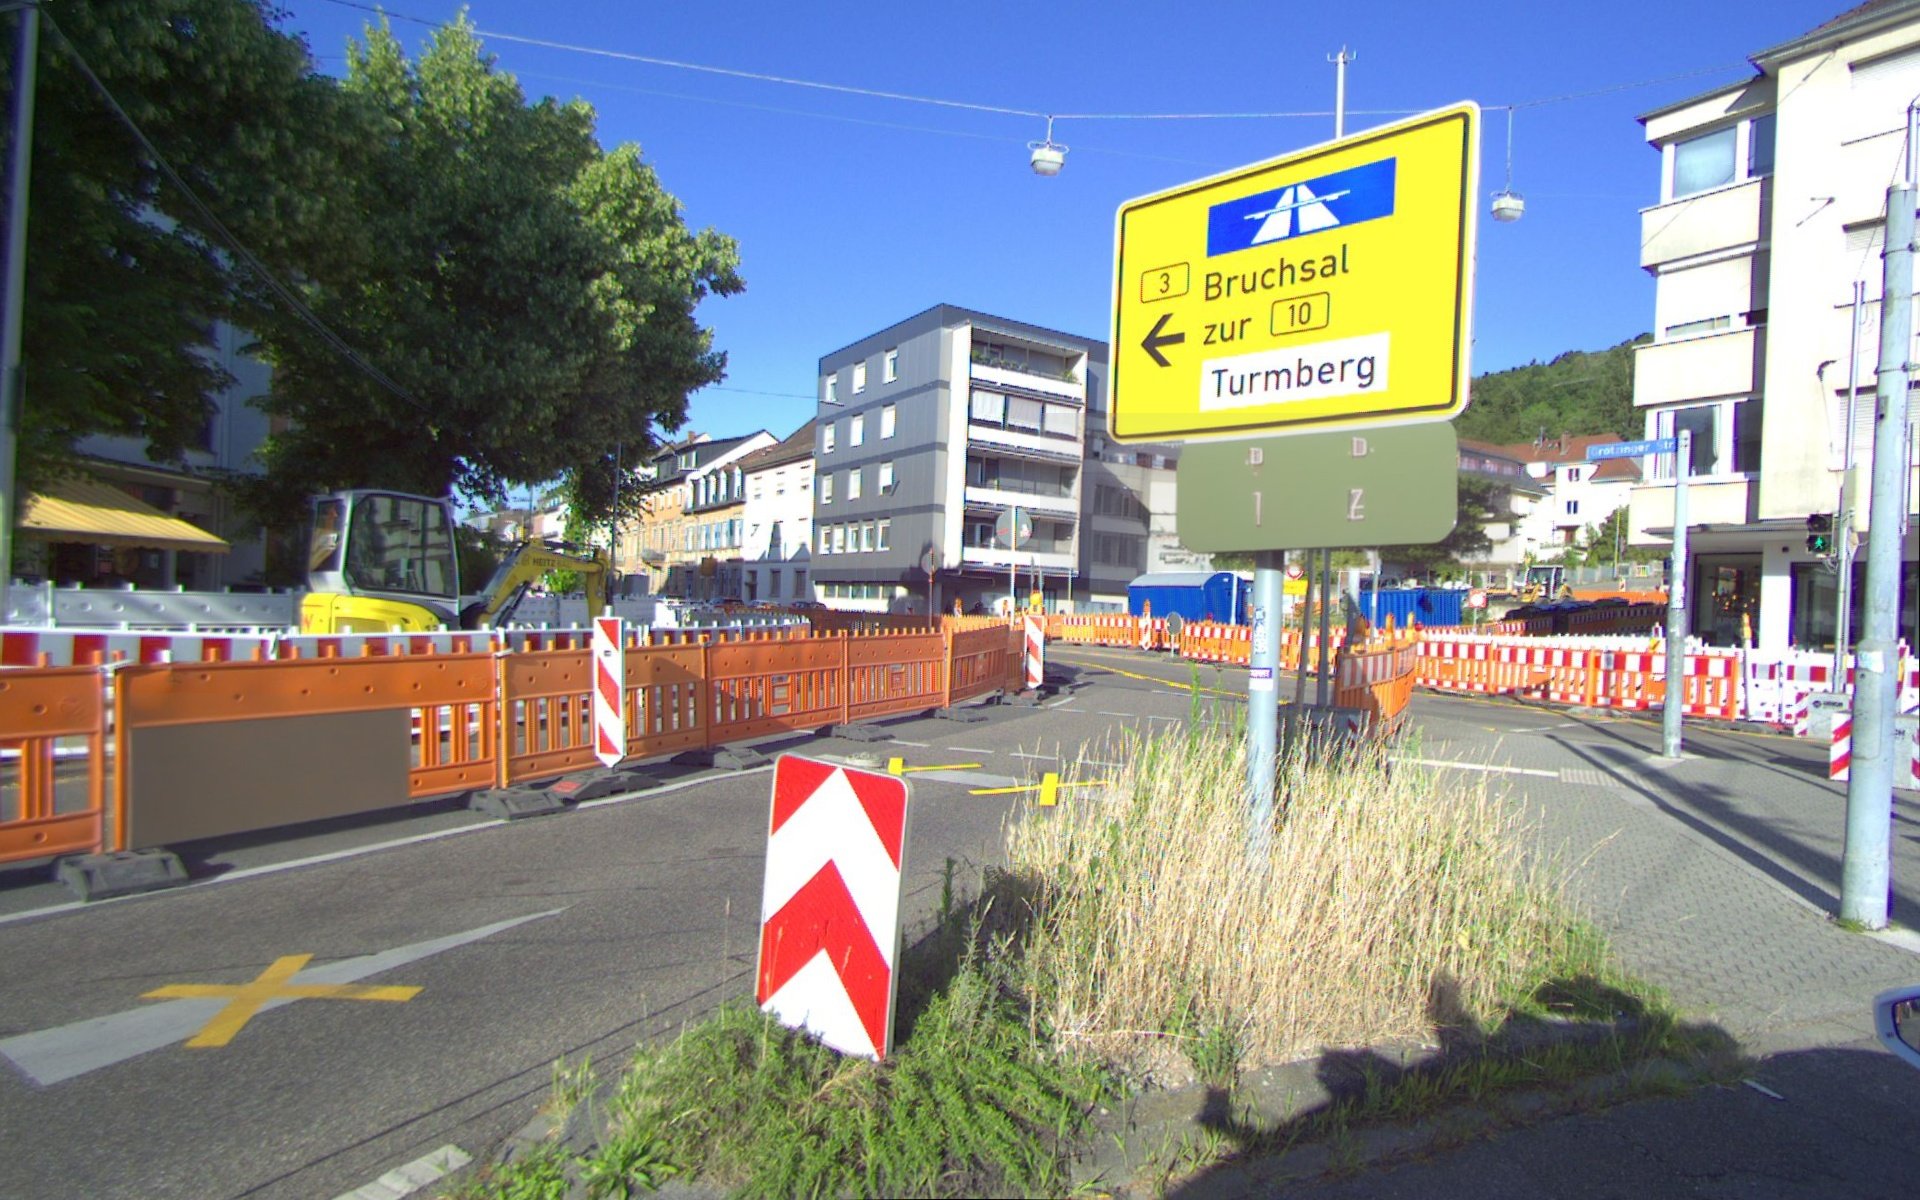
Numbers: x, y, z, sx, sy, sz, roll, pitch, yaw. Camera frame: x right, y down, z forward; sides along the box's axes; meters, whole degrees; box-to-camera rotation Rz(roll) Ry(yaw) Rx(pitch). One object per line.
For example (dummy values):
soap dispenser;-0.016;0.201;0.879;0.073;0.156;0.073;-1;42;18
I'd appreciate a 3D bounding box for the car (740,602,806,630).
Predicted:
car;-10.457;0.906;56.193;3.369;1.430;1.502;2;0;-26

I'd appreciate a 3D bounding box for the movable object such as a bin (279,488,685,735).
movable object such as a bin;-5.320;0.133;11.612;1.626;2.355;3.904;1;0;38

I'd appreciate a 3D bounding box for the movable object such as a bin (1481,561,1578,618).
movable object such as a bin;27.435;-0.479;48.406;4.494;2.527;1.941;2;-1;-28

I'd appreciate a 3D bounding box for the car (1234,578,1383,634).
car;14.921;0.277;42.939;6.074;2.149;2.573;2;-1;-28

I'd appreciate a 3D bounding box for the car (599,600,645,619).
car;-27.426;0.760;81.586;3.369;1.430;1.502;2;0;-26
